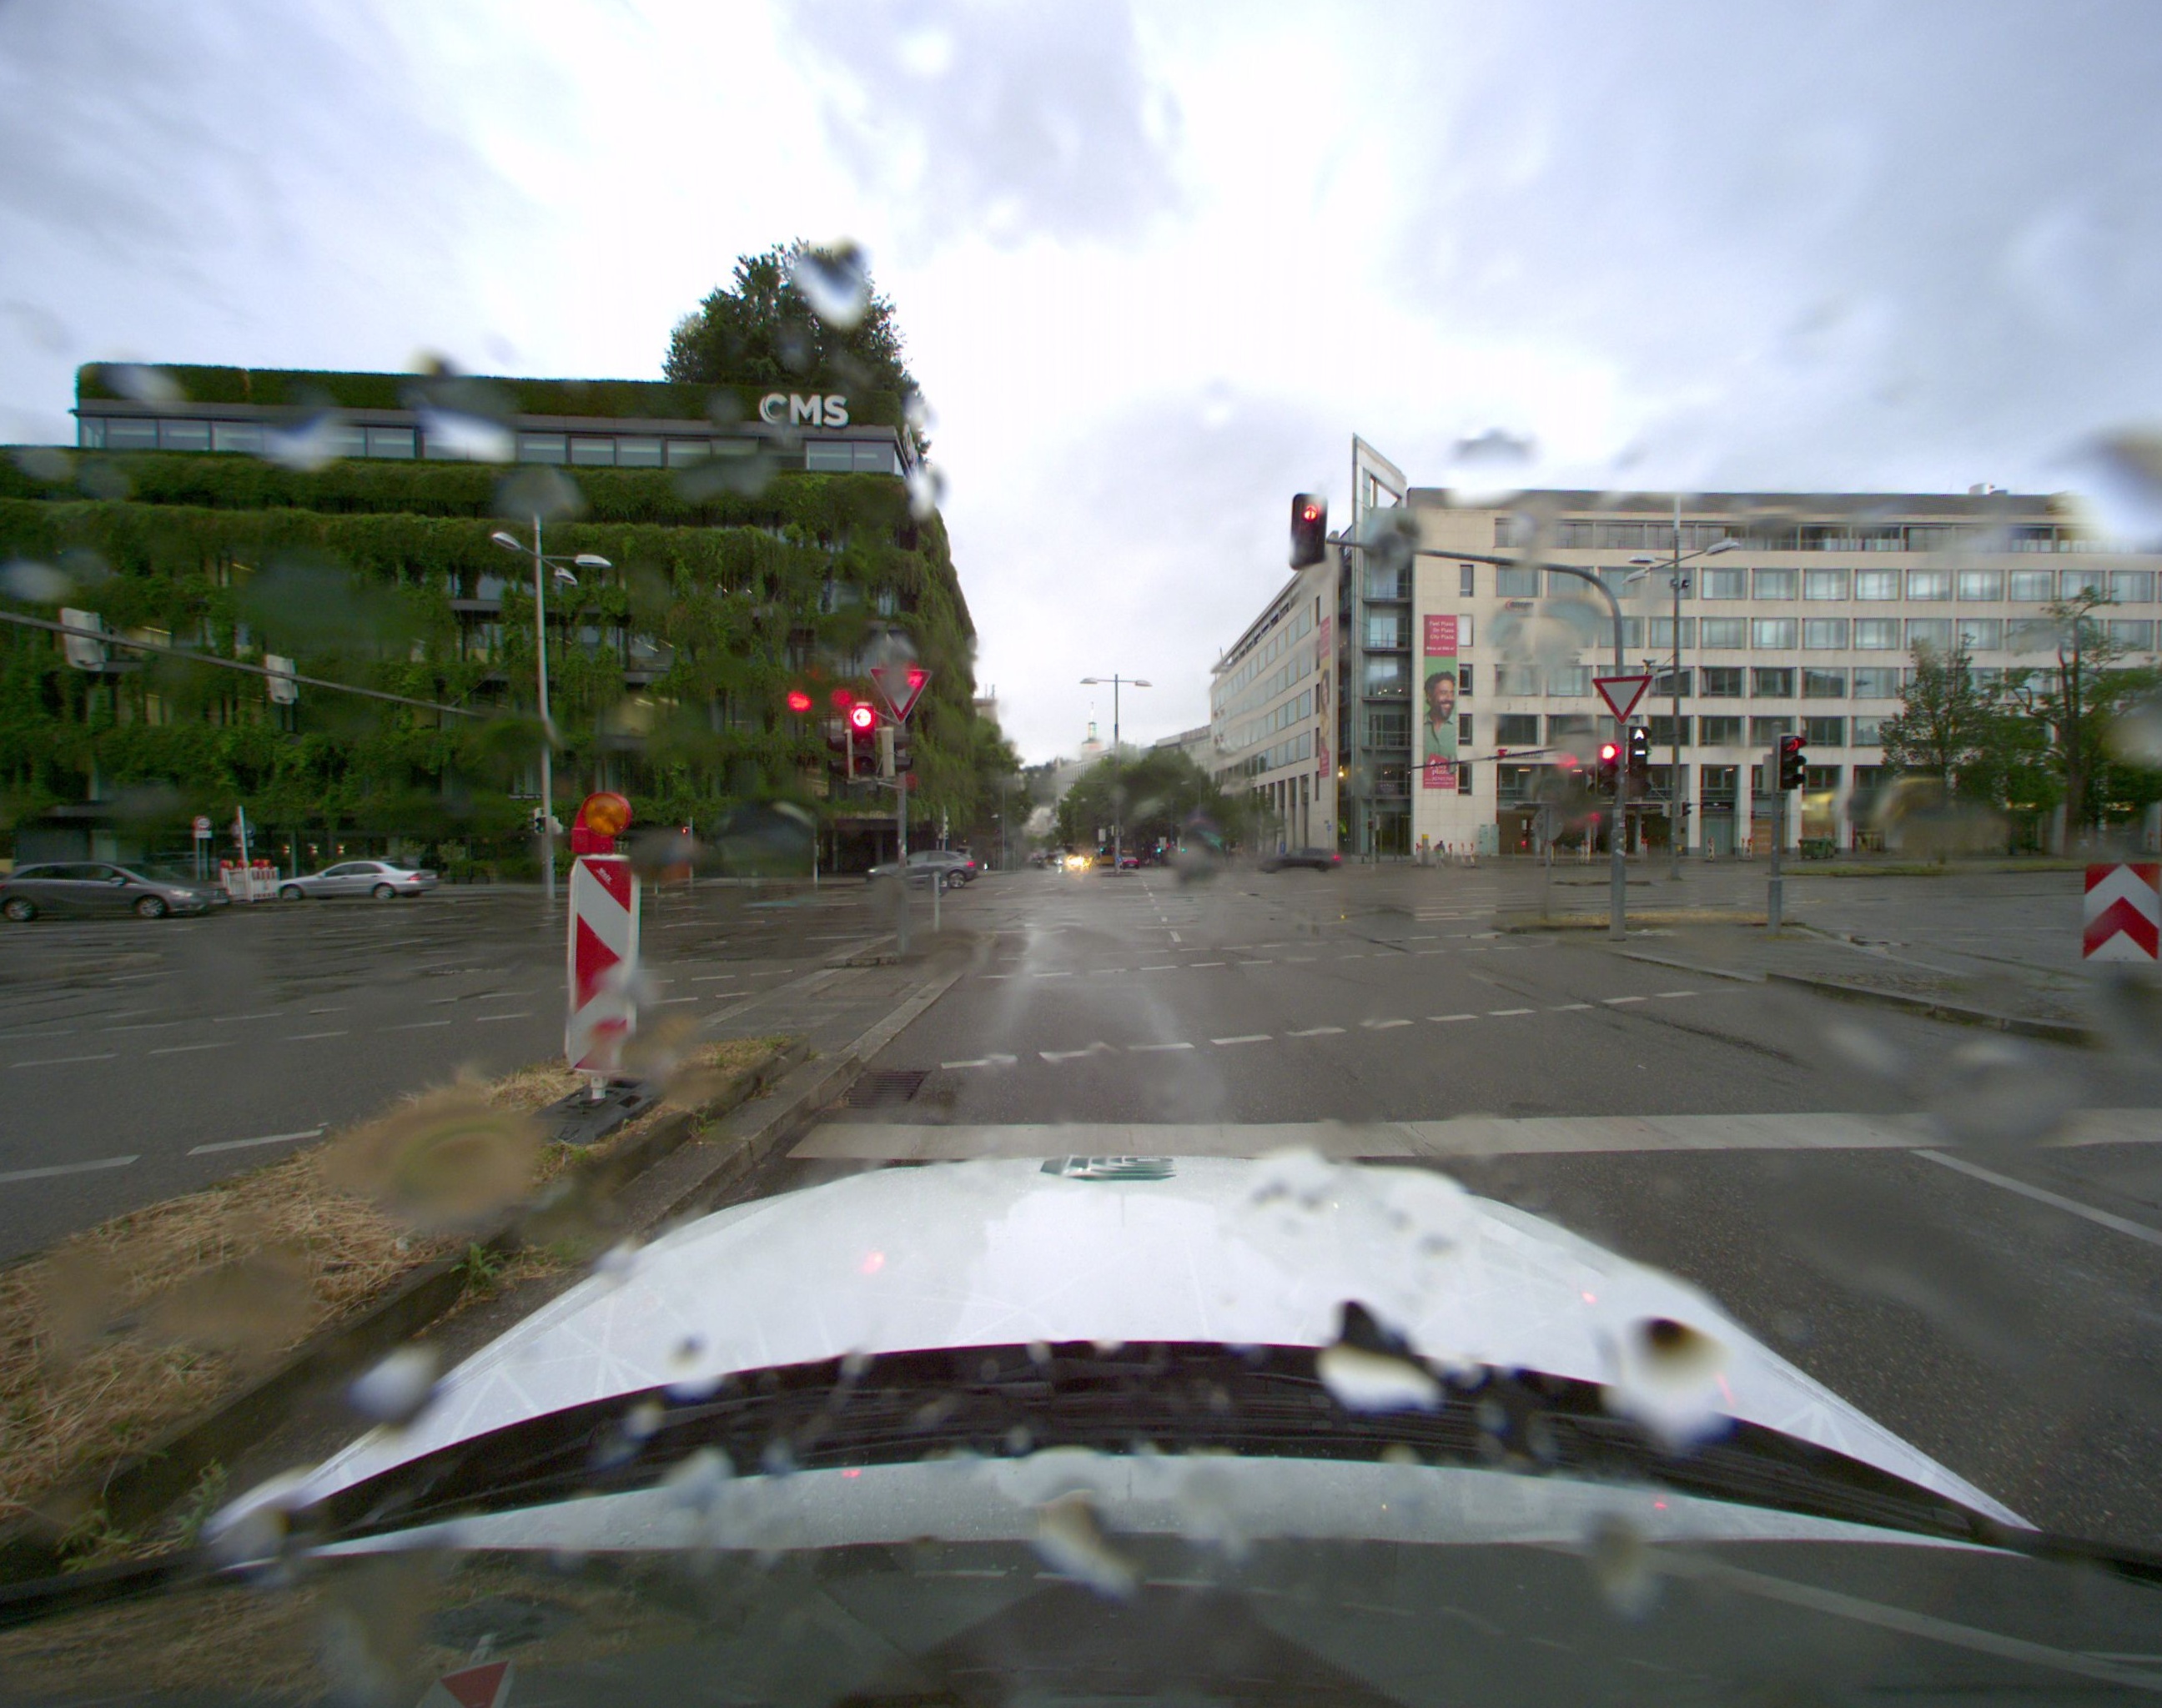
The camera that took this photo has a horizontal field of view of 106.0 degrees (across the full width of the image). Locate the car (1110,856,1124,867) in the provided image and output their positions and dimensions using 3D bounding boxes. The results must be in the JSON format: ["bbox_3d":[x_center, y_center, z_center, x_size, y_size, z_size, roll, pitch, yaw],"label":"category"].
[{"bbox_3d":[4.943,0.982,112.124,1.775,1.508,4.001,0,-1,2],"label":"car"}]

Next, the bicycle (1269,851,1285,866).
[{"bbox_3d":[16.058,0.386,66.730,0.579,1.194,1.794,-1,-1,40],"label":"bicycle"}]

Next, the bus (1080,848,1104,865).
[{"bbox_3d":[1.999,0.440,153.277,2.631,2.995,7.415,-1,0,-13],"label":"bus"}]

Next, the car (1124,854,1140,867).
[{"bbox_3d":[6.144,0.757,98.055,1.775,1.508,4.001,0,-1,2],"label":"car"}]

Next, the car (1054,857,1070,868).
[{"bbox_3d":[-3.217,1.515,139.244,2.163,1.765,4.816,-2,0,-9],"label":"car"}]

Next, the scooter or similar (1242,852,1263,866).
[{"bbox_3d":[14.915,0.427,70.790,1.770,1.194,0.587,0,-1,3],"label":"scooter or similar"}]

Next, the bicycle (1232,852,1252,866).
[{"bbox_3d":[14.479,0.450,73.229,1.770,1.194,0.587,0,-1,3],"label":"bicycle"}]

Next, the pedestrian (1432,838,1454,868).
[{"bbox_3d":[21.904,-0.056,49.346,0.958,1.816,0.837,0,-1,1],"label":"pedestrian"}]

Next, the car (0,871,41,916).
[{"bbox_3d":[-37.805,1.307,26.369,4.851,1.477,1.991,0,-2,-12],"label":"car"}]

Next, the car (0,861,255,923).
[{"bbox_3d":[-26.120,0.986,22.062,4.901,1.488,1.924,-1,0,-15],"label":"car"}]

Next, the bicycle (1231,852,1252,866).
[{"bbox_3d":[14.303,0.446,72.598,1.770,1.194,0.587,0,-1,3],"label":"bicycle"}]

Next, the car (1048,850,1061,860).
[{"bbox_3d":[-4.886,0.114,150.318,2.160,1.765,4.823,-1,0,-4],"label":"car"}]

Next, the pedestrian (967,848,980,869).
[{"bbox_3d":[-8.398,0.366,63.721,0.930,1.644,0.774,0,-1,1],"label":"pedestrian"}]

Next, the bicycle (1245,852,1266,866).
[{"bbox_3d":[15.295,0.429,71.404,1.770,1.194,0.587,0,-1,3],"label":"bicycle"}]

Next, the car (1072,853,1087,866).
[{"bbox_3d":[-0.187,0.827,123.653,2.158,1.765,5.109,-2,0,-1],"label":"car"}]

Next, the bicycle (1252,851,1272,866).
[{"bbox_3d":[14.735,0.391,66.204,0.588,1.194,1.768,0,-1,-26],"label":"bicycle"}]

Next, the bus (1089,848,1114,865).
[{"bbox_3d":[3.691,0.441,146.084,2.631,2.995,7.415,-1,0,-13],"label":"bus"}]

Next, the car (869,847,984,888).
[{"bbox_3d":[-6.313,0.535,33.205,4.480,1.609,1.823,0,-1,-14],"label":"car"}]

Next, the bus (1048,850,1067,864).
[{"bbox_3d":[-5.225,0.646,180.713,2.631,2.995,7.415,-1,0,-13],"label":"bus"}]

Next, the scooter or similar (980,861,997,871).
[{"bbox_3d":[-9.420,1.187,82.944,0.616,1.004,1.671,-1,0,40],"label":"scooter or similar"}]

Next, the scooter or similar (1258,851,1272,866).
[{"bbox_3d":[14.426,0.375,63.974,0.951,1.194,0.458,-1,-1,42],"label":"scooter or similar"}]

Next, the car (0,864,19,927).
[{"bbox_3d":[-27.338,1.004,18.305,3.981,1.475,1.996,-1,0,-6],"label":"car"}]

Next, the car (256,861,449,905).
[{"bbox_3d":[-25.945,1.003,29.200,4.724,1.477,1.991,0,-1,-13],"label":"car"}]

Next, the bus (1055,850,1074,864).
[{"bbox_3d":[-3.530,0.642,173.570,2.631,2.995,7.294,-1,0,-13],"label":"bus"}]

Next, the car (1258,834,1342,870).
[{"bbox_3d":[12.586,-0.094,46.815,4.616,2.014,1.556,-1,-1,17],"label":"car"}]

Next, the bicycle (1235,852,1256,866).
[{"bbox_3d":[14.946,0.454,74.135,1.770,1.194,0.587,0,-1,3],"label":"bicycle"}]
